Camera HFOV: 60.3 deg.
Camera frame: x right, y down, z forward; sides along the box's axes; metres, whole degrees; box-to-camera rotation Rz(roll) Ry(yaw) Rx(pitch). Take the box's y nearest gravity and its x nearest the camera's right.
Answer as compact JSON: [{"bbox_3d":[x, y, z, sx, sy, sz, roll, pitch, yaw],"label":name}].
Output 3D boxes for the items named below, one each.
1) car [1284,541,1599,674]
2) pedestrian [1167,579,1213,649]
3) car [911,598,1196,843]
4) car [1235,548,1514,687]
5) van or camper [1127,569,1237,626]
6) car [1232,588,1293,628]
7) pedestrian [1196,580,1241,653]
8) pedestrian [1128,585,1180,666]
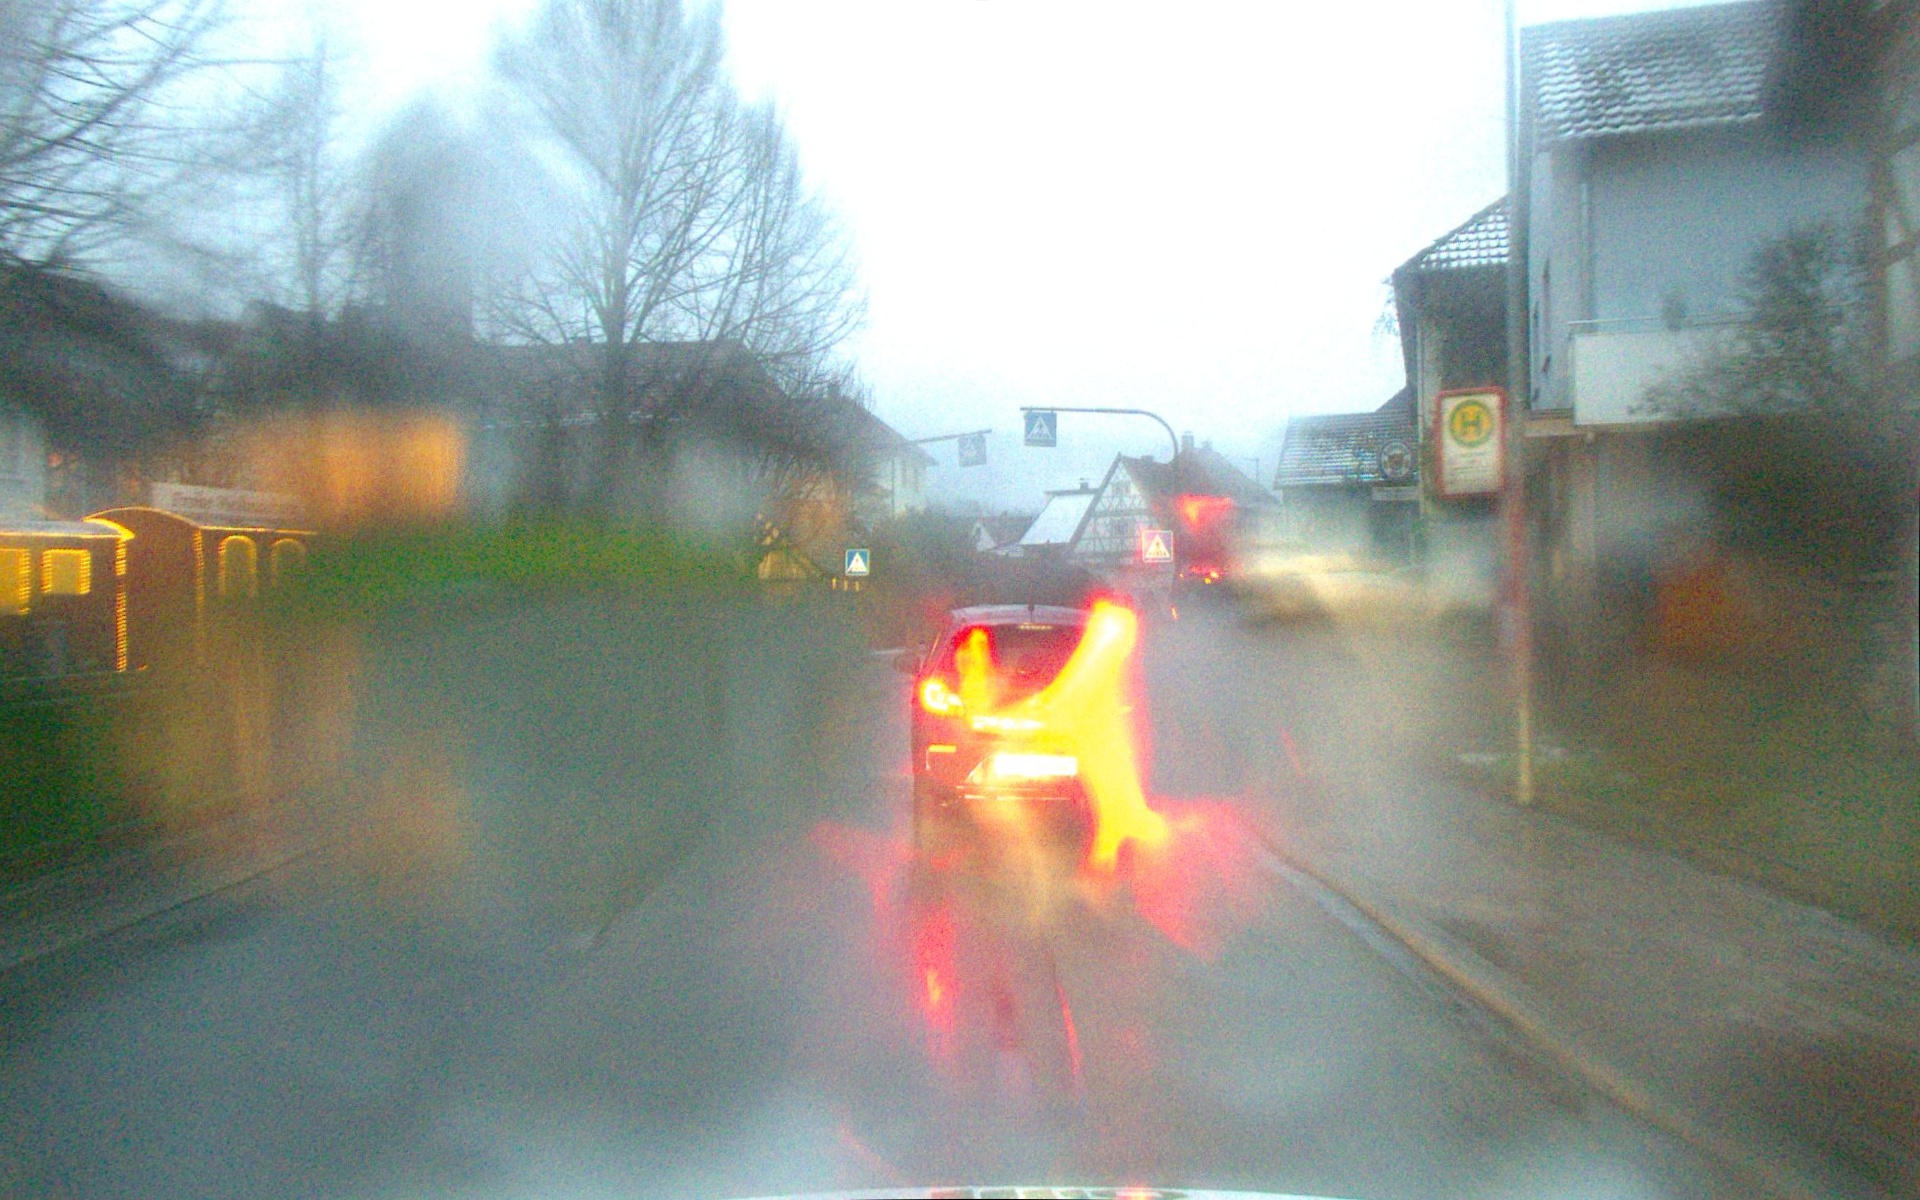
[{"bbox_3d":[8.068,0.133,28.077,4.875,1.922,1.939,-3,0,13],"label":"car"},{"bbox_3d":[5.860,0.345,42.056,0.849,1.696,0.992,-4,-1,21],"label":"pedestrian"},{"bbox_3d":[0.612,0.738,12.201,1.758,1.502,4.000,0,0,1],"label":"car"},{"bbox_3d":[6.332,0.281,25.695,3.956,1.875,1.865,-3,-1,9],"label":"car"},{"bbox_3d":[13.300,-0.131,99.081,5.946,3.006,2.402,-5,-2,29],"label":"van or camper"},{"bbox_3d":[13.047,0.346,71.119,1.809,1.665,4.336,0,0,21],"label":"car"},{"bbox_3d":[6.557,0.411,41.939,0.831,1.763,0.972,-4,-1,21],"label":"pedestrian"},{"bbox_3d":[4.456,0.581,37.985,0.861,1.765,0.955,-4,-1,21],"label":"pedestrian"}]
